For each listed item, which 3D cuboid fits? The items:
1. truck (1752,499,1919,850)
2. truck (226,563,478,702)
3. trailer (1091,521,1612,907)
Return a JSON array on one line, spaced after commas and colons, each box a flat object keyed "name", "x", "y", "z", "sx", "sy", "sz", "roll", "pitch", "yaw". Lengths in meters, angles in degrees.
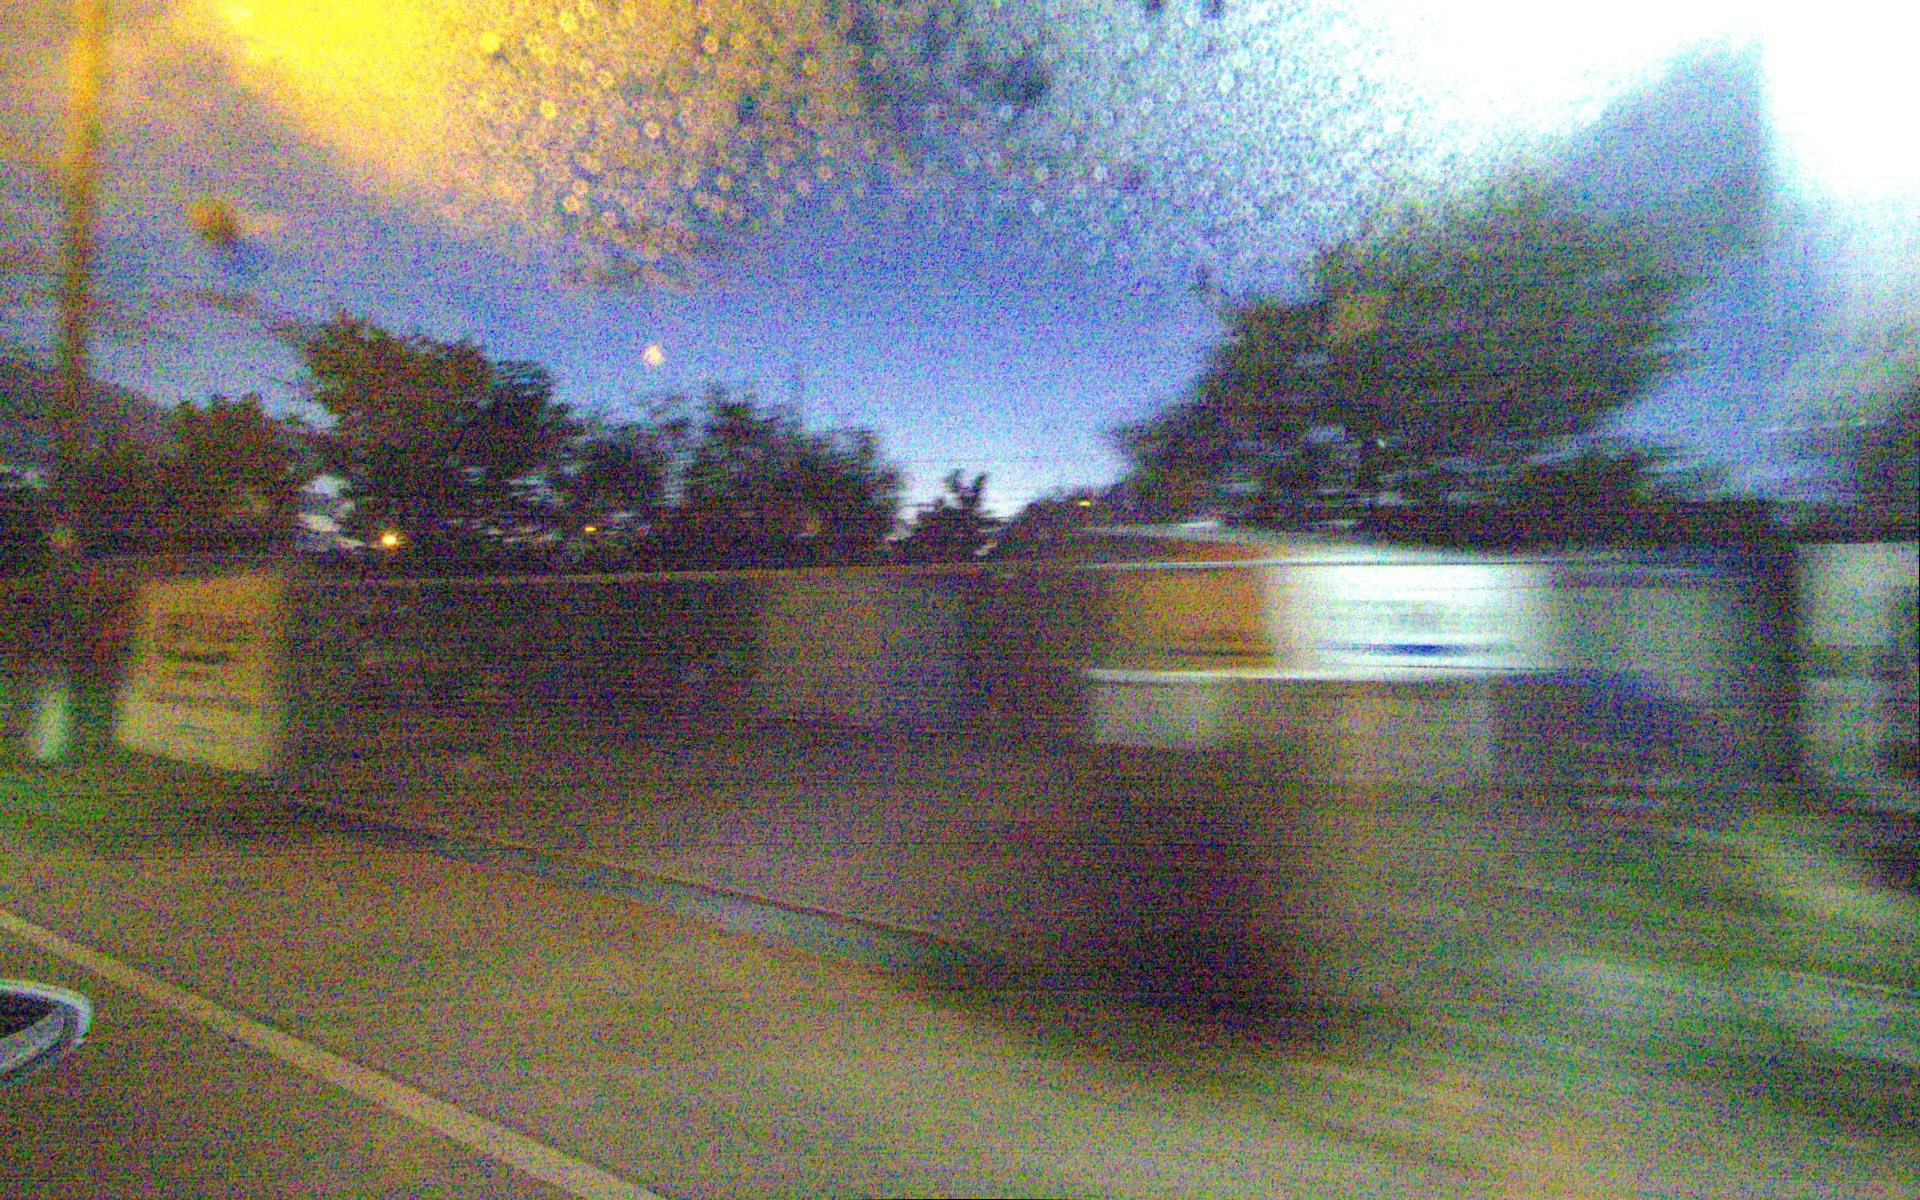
[{"name": "truck", "x": 9.473, "y": 0.697, "z": 9.374, "sx": 2.435, "sy": 2.632, "sz": 5.527, "roll": 0, "pitch": -3, "yaw": 30}, {"name": "truck", "x": -14.202, "y": 0.754, "z": 23.140, "sx": 7.217, "sy": 2.782, "sz": 2.179, "roll": -1, "pitch": -3, "yaw": 35}, {"name": "trailer", "x": 2.853, "y": 0.658, "z": 7.027, "sx": 3.712, "sy": 2.040, "sz": 1.603, "roll": 2, "pitch": -1, "yaw": -35}]
